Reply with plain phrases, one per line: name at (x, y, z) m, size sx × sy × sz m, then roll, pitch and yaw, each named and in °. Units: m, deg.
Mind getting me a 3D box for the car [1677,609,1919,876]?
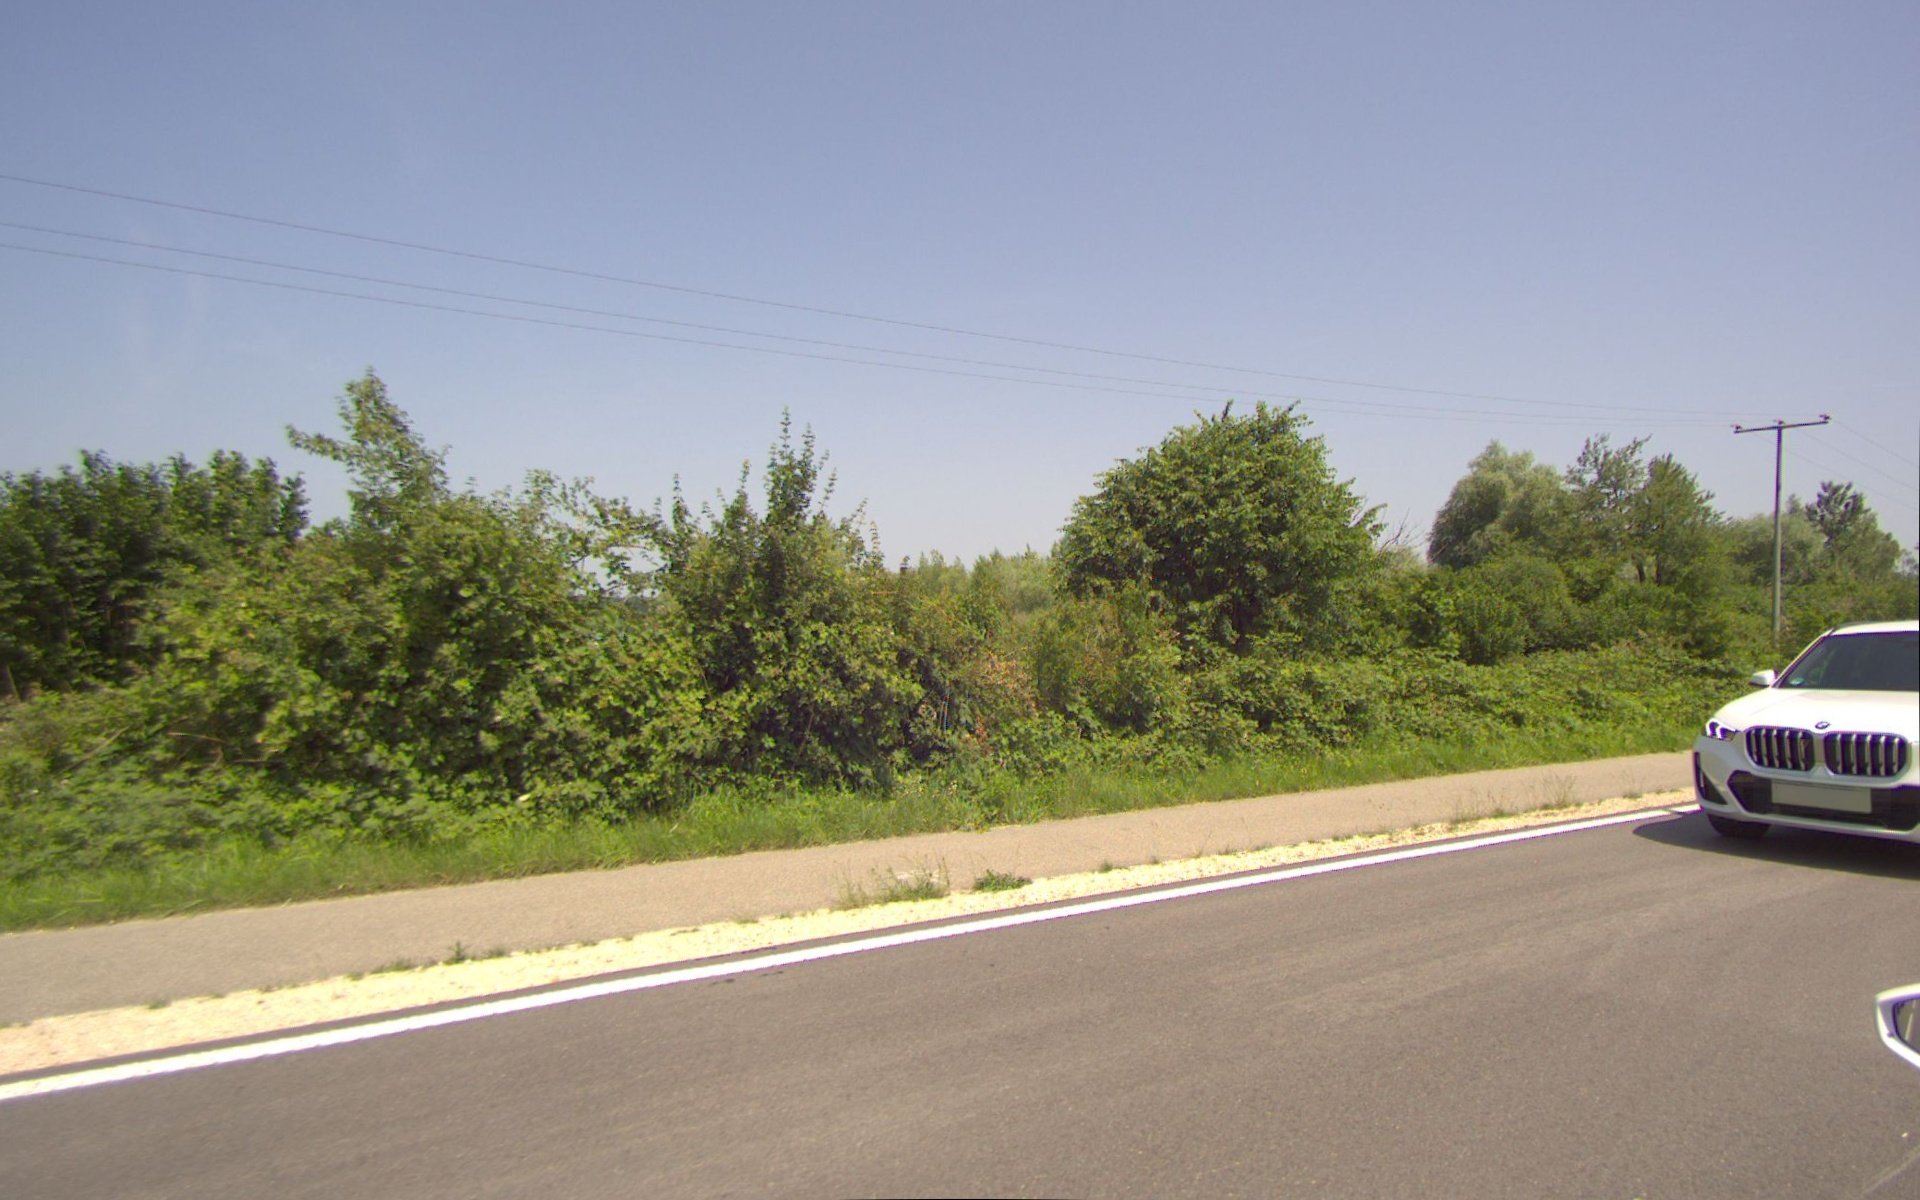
car at (7.559, 0.939, 7.670) m, size 4.429 × 1.627 × 1.750 m, roll 1°, pitch -3°, yaw -31°
